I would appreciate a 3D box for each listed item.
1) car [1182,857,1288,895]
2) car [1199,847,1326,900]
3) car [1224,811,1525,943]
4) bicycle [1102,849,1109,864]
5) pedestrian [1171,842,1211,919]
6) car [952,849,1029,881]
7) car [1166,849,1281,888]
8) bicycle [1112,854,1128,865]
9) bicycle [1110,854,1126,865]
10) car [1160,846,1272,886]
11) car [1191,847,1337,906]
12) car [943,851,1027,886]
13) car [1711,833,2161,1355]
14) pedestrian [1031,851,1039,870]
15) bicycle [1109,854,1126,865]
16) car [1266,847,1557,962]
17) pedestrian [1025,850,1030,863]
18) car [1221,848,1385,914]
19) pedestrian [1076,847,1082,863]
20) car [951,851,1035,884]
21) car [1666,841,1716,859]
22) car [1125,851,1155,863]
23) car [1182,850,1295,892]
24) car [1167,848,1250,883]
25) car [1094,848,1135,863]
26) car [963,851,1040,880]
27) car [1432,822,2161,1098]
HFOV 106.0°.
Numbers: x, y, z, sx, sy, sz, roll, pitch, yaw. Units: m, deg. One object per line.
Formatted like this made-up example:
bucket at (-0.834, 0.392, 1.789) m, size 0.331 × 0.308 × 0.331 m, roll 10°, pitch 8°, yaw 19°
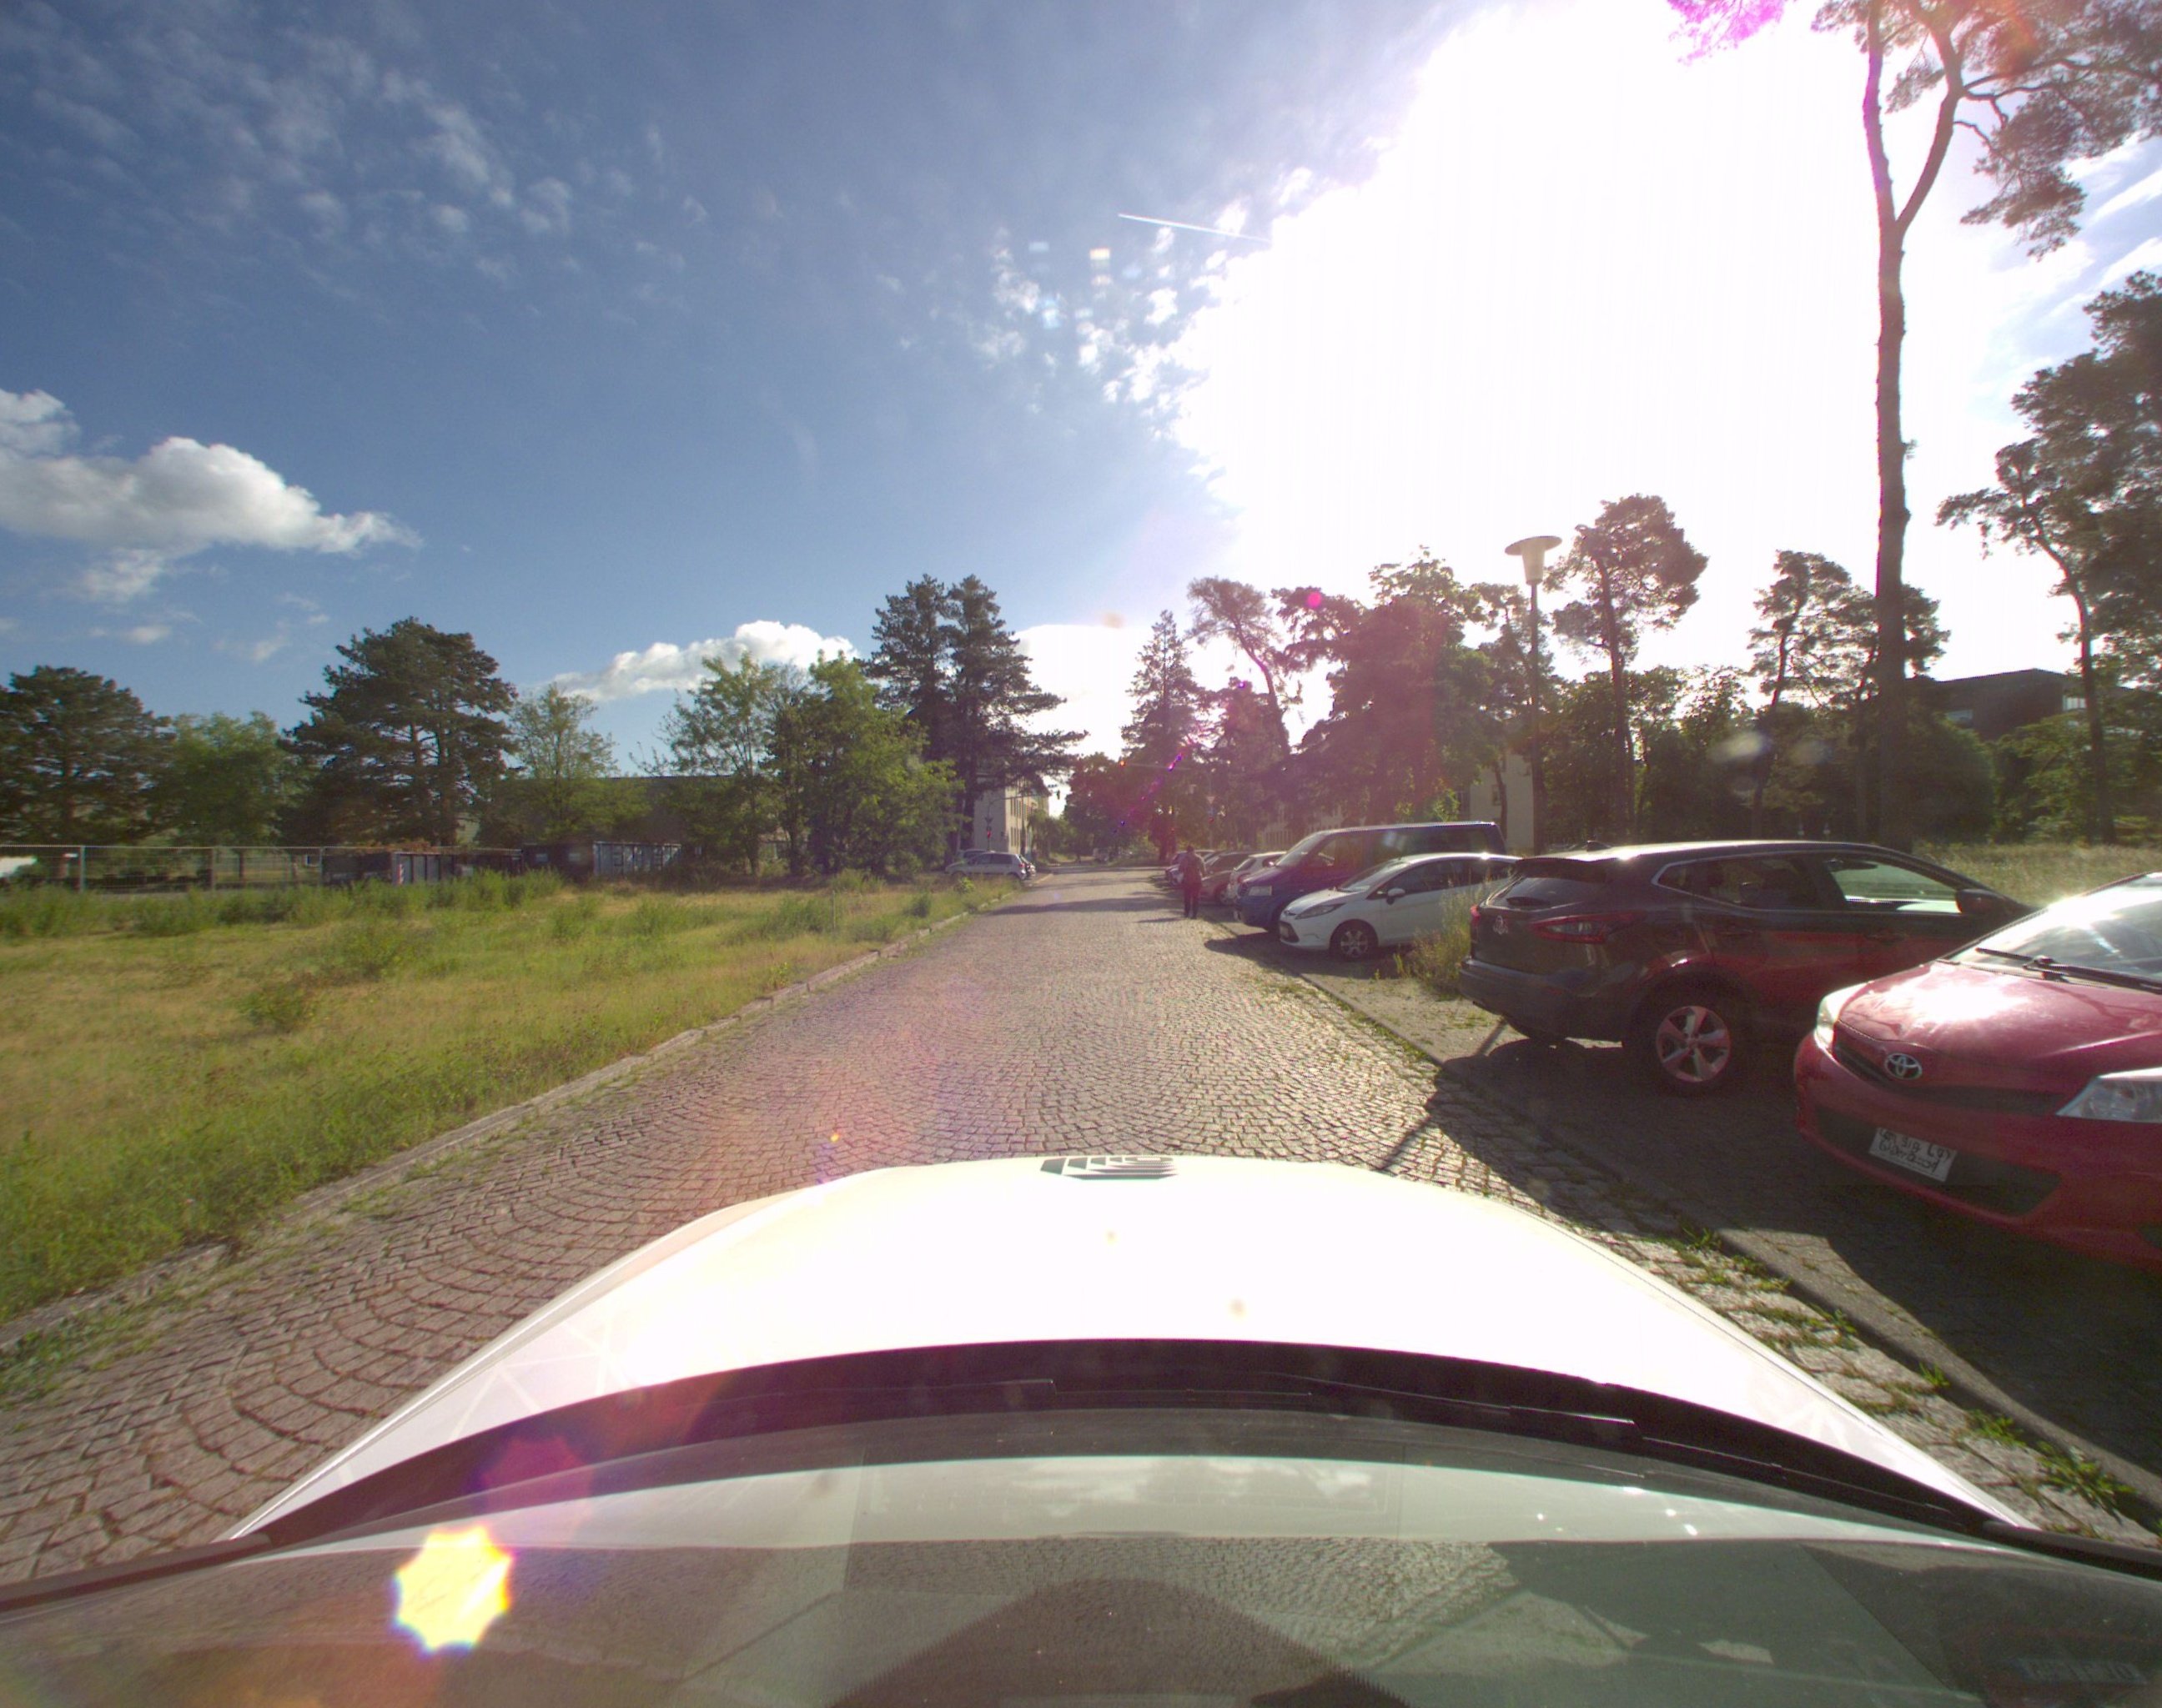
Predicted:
car at (5.347, 0.755, 28.555) m, size 3.447 × 1.242 × 1.537 m, roll -1°, pitch 0°, yaw 2°
car at (5.713, 0.589, 25.909) m, size 3.650 × 1.455 × 1.667 m, roll -3°, pitch 0°, yaw 1°
car at (5.177, 0.390, 14.910) m, size 4.736 × 2.013 × 2.001 m, roll -3°, pitch 0°, yaw 1°
bicycle at (2.518, 0.249, 84.287) m, size 0.750 × 1.580 × 2.537 m, roll -1°, pitch 0°, yaw 1°
pedestrian at (2.567, 0.611, 19.100) m, size 0.750 × 1.725 × 0.829 m, roll 4°, pitch 0°, yaw 1°
car at (-4.752, 0.571, 43.097) m, size 3.867 × 1.615 × 1.660 m, roll 1°, pitch 0°, yaw 0°
car at (5.770, 0.579, 33.358) m, size 4.384 × 1.388 × 1.789 m, roll -2°, pitch 0°, yaw 0°
bicycle at (4.259, 0.566, 88.764) m, size 1.723 × 1.164 × 0.560 m, roll -1°, pitch 0°, yaw -2°
bicycle at (4.005, 0.606, 88.087) m, size 1.723 × 1.112 × 0.484 m, roll -1°, pitch 0°, yaw -2°
car at (5.914, 0.520, 35.999) m, size 4.606 × 1.455 × 1.869 m, roll -3°, pitch 0°, yaw -1°
car at (5.097, 0.610, 23.091) m, size 3.765 × 1.450 × 1.759 m, roll -2°, pitch 0°, yaw 3°
car at (-4.418, 0.653, 37.877) m, size 3.675 × 1.527 × 1.698 m, roll 1°, pitch 0°, yaw -1°
car at (5.111, 0.676, 3.261) m, size 3.810 × 1.538 × 1.704 m, roll -2°, pitch 0°, yaw 1°
pedestrian at (-4.221, 0.624, 74.640) m, size 0.608 × 1.752 × 0.626 m, roll -1°, pitch 0°, yaw -19°
bicycle at (3.921, 0.608, 87.543) m, size 1.829 × 1.112 × 0.495 m, roll -1°, pitch 0°, yaw -2°
car at (4.849, 0.703, 12.287) m, size 3.709 × 1.467 × 1.609 m, roll -2°, pitch 0°, yaw -1°
pedestrian at (-6.729, 0.347, 101.628) m, size 0.606 × 1.559 × 0.544 m, roll -1°, pitch 0°, yaw -5°
car at (5.408, 0.630, 20.152) m, size 3.631 × 1.492 × 1.635 m, roll -1°, pitch 0°, yaw 1°
pedestrian at (-0.251, 0.107, 103.193) m, size 0.592 × 2.013 × 0.573 m, roll -1°, pitch 0°, yaw 1°
car at (-4.321, 0.640, 40.543) m, size 3.924 × 1.445 × 1.691 m, roll 2°, pitch 0°, yaw 0°
car at (59.828, -0.417, 79.913) m, size 3.620 × 1.671 × 1.769 m, roll -1°, pitch 0°, yaw 3°
car at (7.942, 0.363, 109.260) m, size 3.739 × 1.580 × 1.738 m, roll -1°, pitch 0°, yaw -6°
car at (5.913, 0.617, 30.935) m, size 3.965 × 1.448 × 1.656 m, roll -2°, pitch 0°, yaw 0°
car at (5.997, 0.518, 38.536) m, size 3.660 × 1.443 × 1.666 m, roll -3°, pitch 0°, yaw 1°
car at (4.338, 0.180, 105.474) m, size 5.064 × 1.918 × 1.995 m, roll -1°, pitch 0°, yaw -8°
car at (-4.449, 0.628, 45.938) m, size 3.967 × 1.496 × 1.776 m, roll 1°, pitch 0°, yaw 6°
car at (4.990, 0.645, 5.931) m, size 4.094 × 1.611 × 1.786 m, roll -1°, pitch 0°, yaw 0°
